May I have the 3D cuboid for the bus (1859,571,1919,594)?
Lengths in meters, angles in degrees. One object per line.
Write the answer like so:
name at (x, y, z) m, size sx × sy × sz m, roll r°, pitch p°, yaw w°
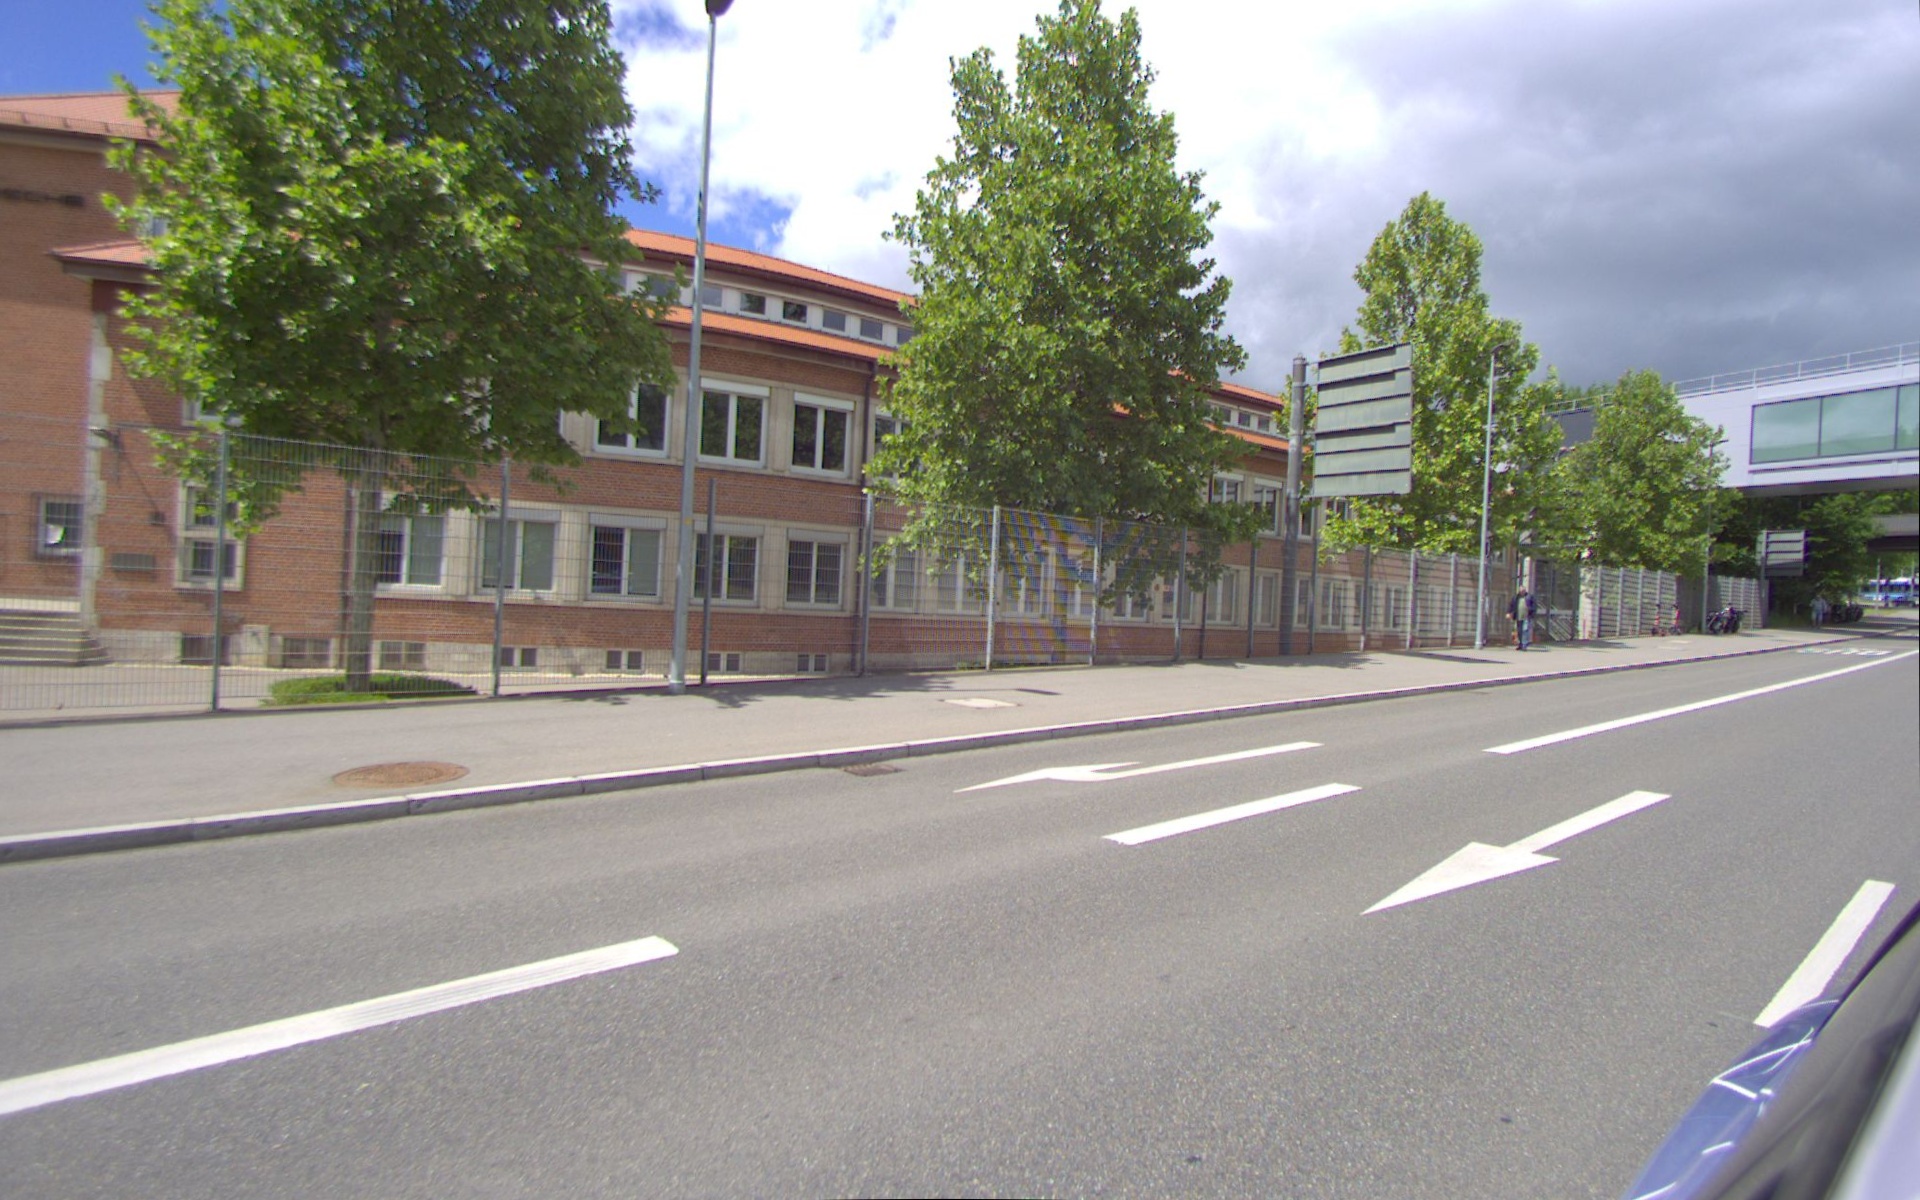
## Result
bus at (123.630, -2.321, 131.631) m, size 2.606 × 2.972 × 9.770 m, roll -1°, pitch 1°, yaw -41°

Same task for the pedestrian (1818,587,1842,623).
pedestrian at (48.022, 0.266, 55.871) m, size 1.078 × 1.911 × 0.791 m, roll 0°, pitch 2°, yaw -42°

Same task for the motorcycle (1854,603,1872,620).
motorcycle at (61.115, 0.749, 68.454) m, size 2.003 × 1.096 × 0.679 m, roll 0°, pitch 2°, yaw -42°

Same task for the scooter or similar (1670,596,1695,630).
scooter or similar at (29.167, 0.507, 40.845) m, size 1.313 × 1.310 × 0.492 m, roll 0°, pitch 2°, yaw -41°

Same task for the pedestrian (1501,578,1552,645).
pedestrian at (15.519, 0.306, 27.723) m, size 0.924 × 1.764 × 0.879 m, roll 0°, pitch 3°, yaw -41°

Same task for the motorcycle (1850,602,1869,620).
motorcycle at (59.405, 0.707, 66.829) m, size 2.123 × 1.157 × 0.679 m, roll 0°, pitch 2°, yaw -42°

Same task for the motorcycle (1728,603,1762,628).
motorcycle at (35.552, 0.684, 45.802) m, size 2.467 × 1.077 × 0.709 m, roll 0°, pitch 4°, yaw -42°

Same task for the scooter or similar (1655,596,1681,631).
scooter or similar at (27.644, 0.524, 39.494) m, size 1.313 × 1.310 × 0.492 m, roll 0°, pitch 2°, yaw -41°

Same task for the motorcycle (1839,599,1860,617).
motorcycle at (57.469, 0.514, 65.394) m, size 2.075 × 1.169 × 0.679 m, roll 0°, pitch 2°, yaw -40°

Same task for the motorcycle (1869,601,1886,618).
motorcycle at (63.241, 0.627, 69.753) m, size 2.143 × 1.096 × 0.679 m, roll 0°, pitch 2°, yaw -42°

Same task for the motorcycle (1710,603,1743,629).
motorcycle at (33.216, 0.674, 43.850) m, size 2.208 × 1.077 × 0.669 m, roll 0°, pitch 4°, yaw -42°
